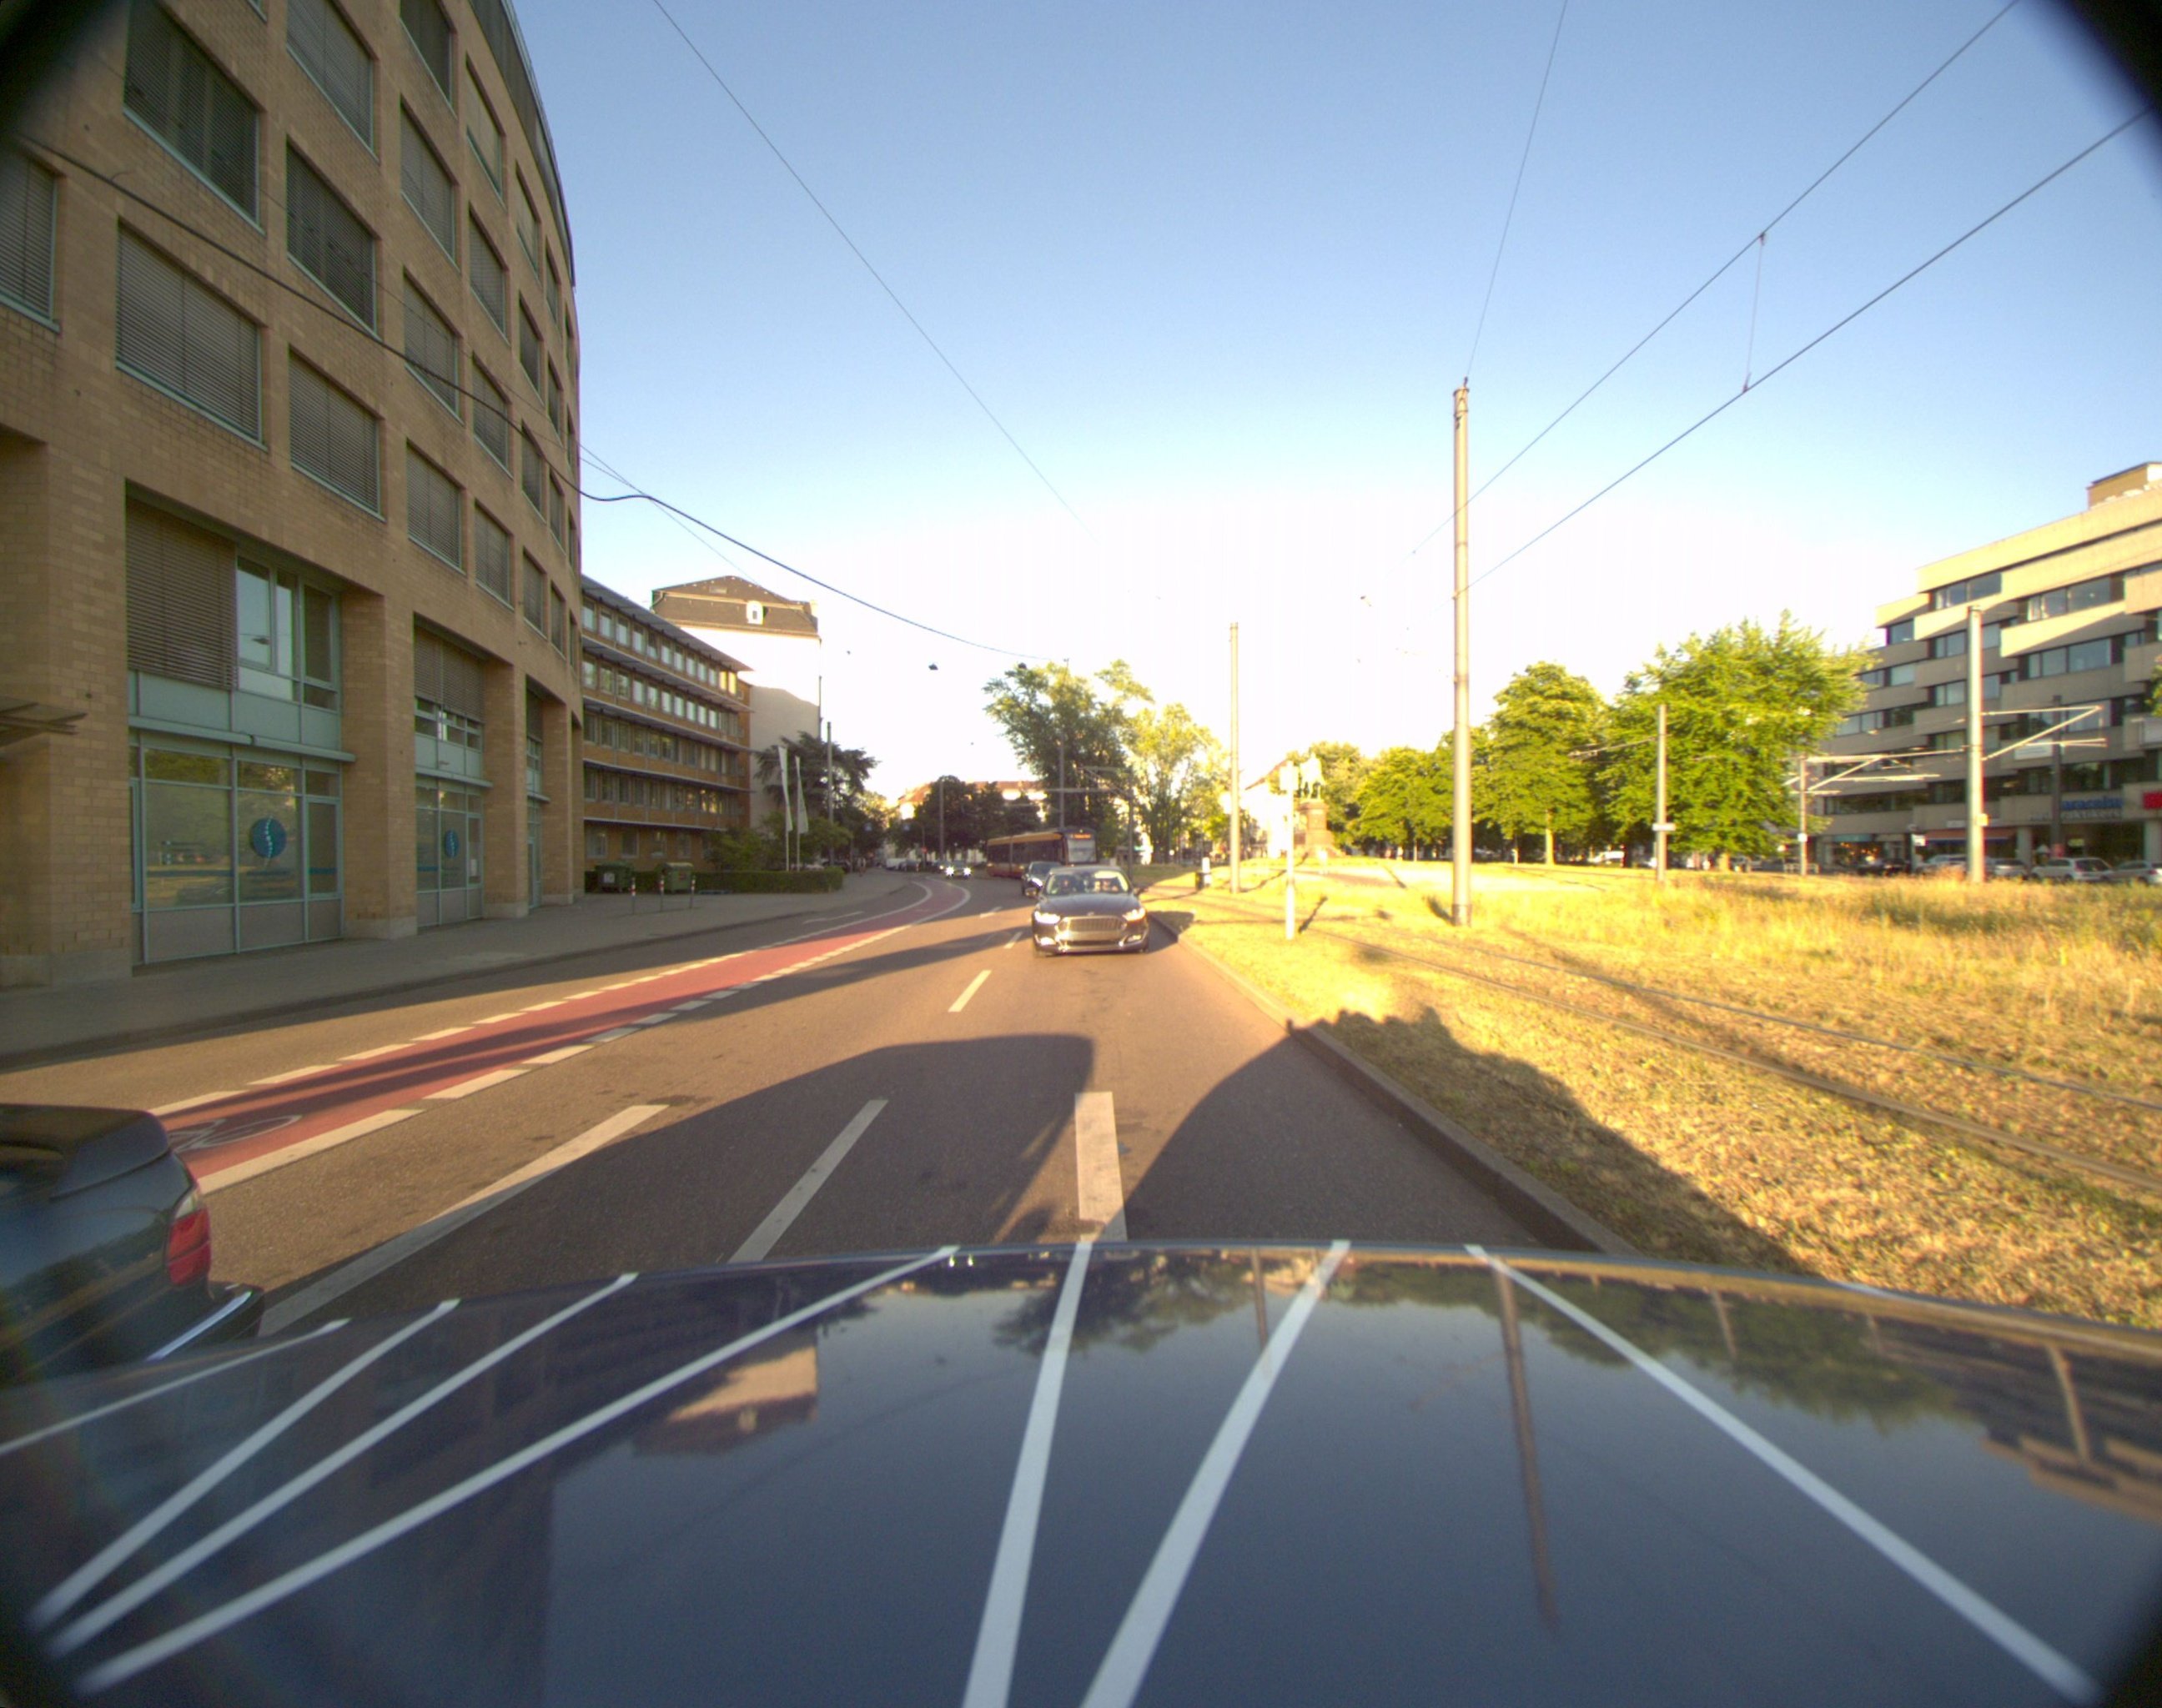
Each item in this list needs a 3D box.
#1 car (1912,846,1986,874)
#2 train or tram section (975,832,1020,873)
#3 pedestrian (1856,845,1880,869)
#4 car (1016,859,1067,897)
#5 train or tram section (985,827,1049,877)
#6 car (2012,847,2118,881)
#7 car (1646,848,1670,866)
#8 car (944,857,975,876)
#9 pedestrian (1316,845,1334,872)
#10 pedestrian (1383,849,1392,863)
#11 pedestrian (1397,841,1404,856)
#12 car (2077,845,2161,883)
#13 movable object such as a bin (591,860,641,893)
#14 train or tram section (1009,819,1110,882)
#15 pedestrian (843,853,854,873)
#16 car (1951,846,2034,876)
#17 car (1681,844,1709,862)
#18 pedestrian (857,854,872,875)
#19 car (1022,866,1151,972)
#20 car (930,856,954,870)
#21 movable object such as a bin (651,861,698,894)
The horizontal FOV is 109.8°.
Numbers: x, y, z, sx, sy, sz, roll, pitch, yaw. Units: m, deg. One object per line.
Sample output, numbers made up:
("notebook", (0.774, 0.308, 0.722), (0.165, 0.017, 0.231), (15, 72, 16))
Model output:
("car", (61.325, 0.382, 53.773), (1.995, 1.925, 4.007), (-1, 0, 24))
("train or tram section", (-8.326, -0.158, 74.490), (2.916, 3.717, 12.177), (-1, 0, -13))
("pedestrian", (66.522, 0.252, 64.248), (1.138, 2.023, 0.892), (-1, 1, 3))
("car", (-1.661, 1.008, 33.601), (1.897, 1.526, 4.705), (0, 0, 1))
("train or tram section", (-5.536, -0.152, 62.883), (2.888, 3.717, 12.166), (-1, 0, -16))
("car", (56.316, 0.558, 43.611), (1.995, 1.868, 4.006), (-1, 0, 22))
("car", (71.837, 0.387, 94.582), (1.995, 2.002, 4.007), (-2, 1, 32))
("car", (-10.050, 1.033, 62.591), (2.001, 1.453, 4.137), (-1, 0, -17))
("pedestrian", (15.457, 0.294, 48.124), (0.891, 1.718, 0.797), (-1, 1, 1))
("pedestrian", (35.580, 0.198, 88.205), (0.711, 1.660, 0.635), (-1, 1, 1))
("pedestrian", (36.902, -0.615, 87.709), (0.535, 1.684, 0.512), (-1, 1, 1))
("car", (54.122, 0.495, 38.964), (1.921, 1.853, 4.006), (-1, 0, 23))
("movable object such as a bin", (-21.232, 1.025, 34.739), (1.427, 1.450, 1.332), (-1, 0, -2))
("train or tram section", (-1.829, -0.226, 51.302), (2.921, 3.717, 13.196), (-1, 0, -19))
("pedestrian", (-20.452, 0.785, 66.818), (0.728, 1.797, 0.724), (-1, 1, 1))
("car", (58.821, 0.435, 49.142), (1.995, 1.868, 4.007), (0, 0, 27))
("car", (72.071, -0.153, 89.249), (1.995, 2.002, 4.007), (-2, 1, 32))
("pedestrian", (-19.615, 0.924, 68.797), (0.913, 1.883, 1.123), (-1, 1, -34))
("car", (0.120, 0.994, 13.533), (1.890, 1.477, 4.725), (0, 0, 1))
("car", (-15.046, 0.980, 82.312), (1.759, 1.379, 3.999), (-3, 0, -1))
("movable object such as a bin", (-18.279, 1.053, 34.233), (1.427, 1.450, 1.332), (-1, 0, -3))
